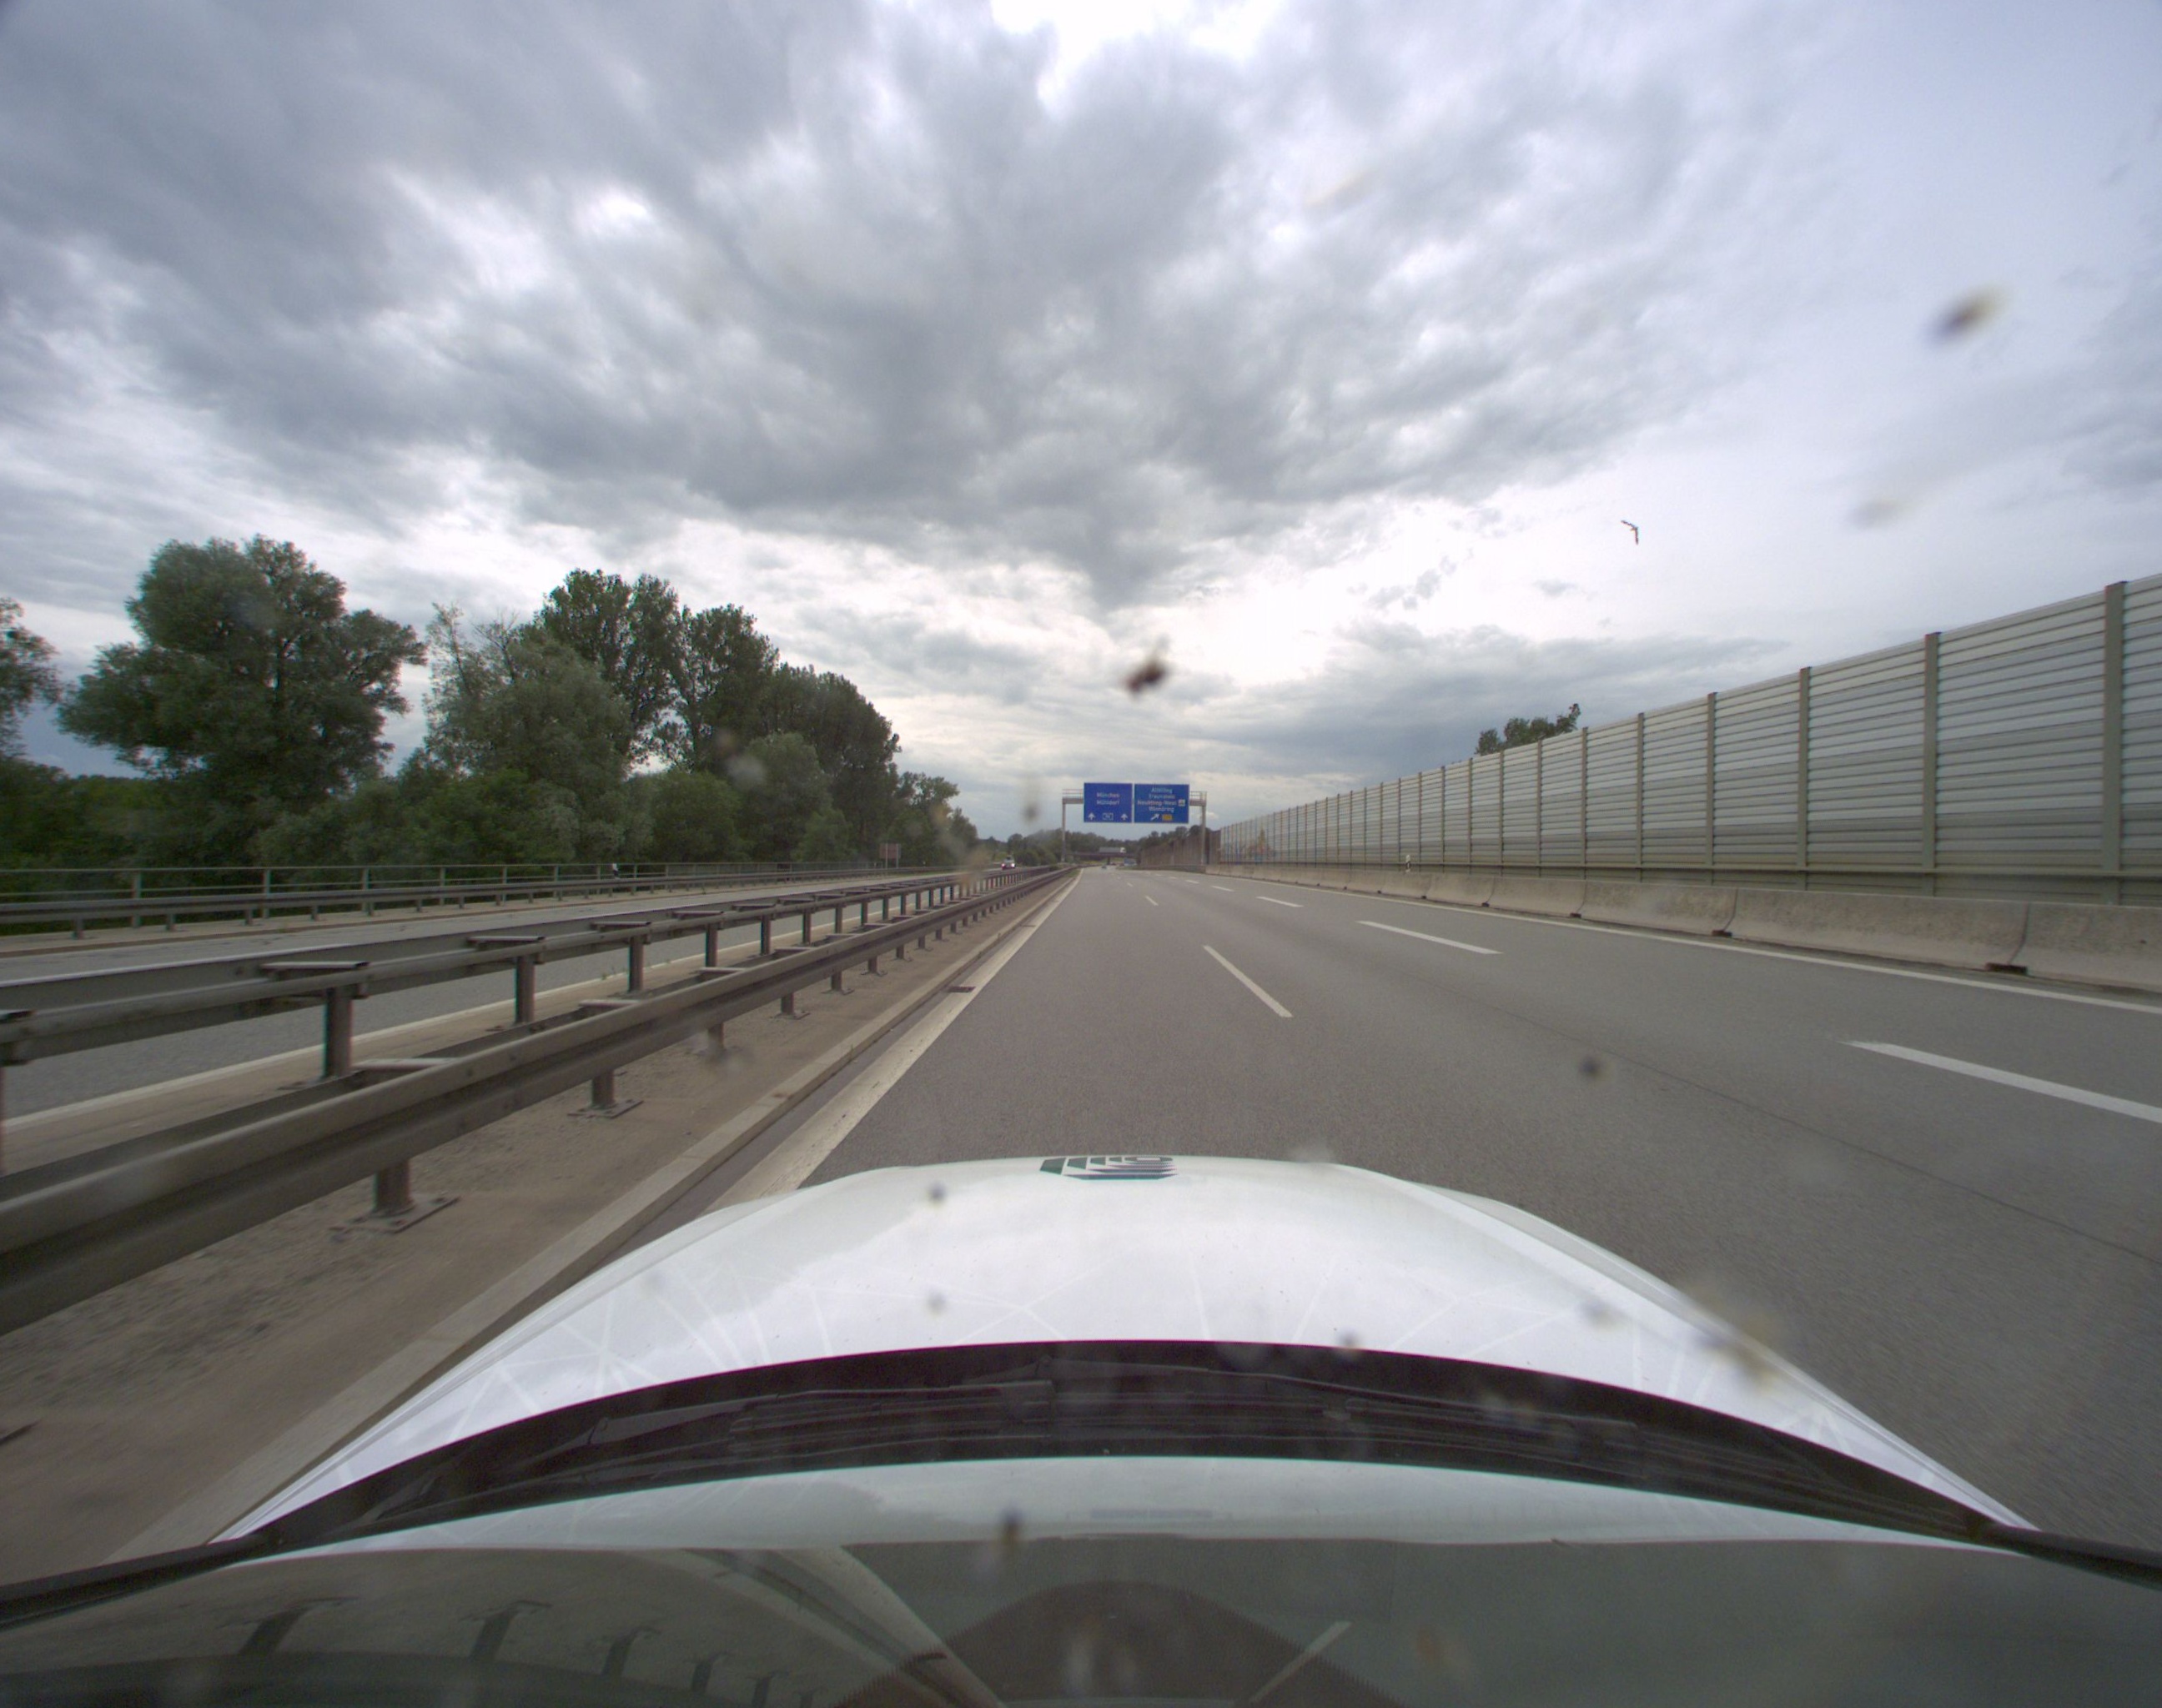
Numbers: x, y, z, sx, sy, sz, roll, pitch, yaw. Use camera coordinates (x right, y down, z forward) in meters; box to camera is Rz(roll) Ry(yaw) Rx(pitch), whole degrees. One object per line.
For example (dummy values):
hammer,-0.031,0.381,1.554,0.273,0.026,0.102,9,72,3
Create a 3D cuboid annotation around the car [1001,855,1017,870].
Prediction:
car,-10.139,1.207,114.867,1.987,2.002,4.742,0,-1,-1
